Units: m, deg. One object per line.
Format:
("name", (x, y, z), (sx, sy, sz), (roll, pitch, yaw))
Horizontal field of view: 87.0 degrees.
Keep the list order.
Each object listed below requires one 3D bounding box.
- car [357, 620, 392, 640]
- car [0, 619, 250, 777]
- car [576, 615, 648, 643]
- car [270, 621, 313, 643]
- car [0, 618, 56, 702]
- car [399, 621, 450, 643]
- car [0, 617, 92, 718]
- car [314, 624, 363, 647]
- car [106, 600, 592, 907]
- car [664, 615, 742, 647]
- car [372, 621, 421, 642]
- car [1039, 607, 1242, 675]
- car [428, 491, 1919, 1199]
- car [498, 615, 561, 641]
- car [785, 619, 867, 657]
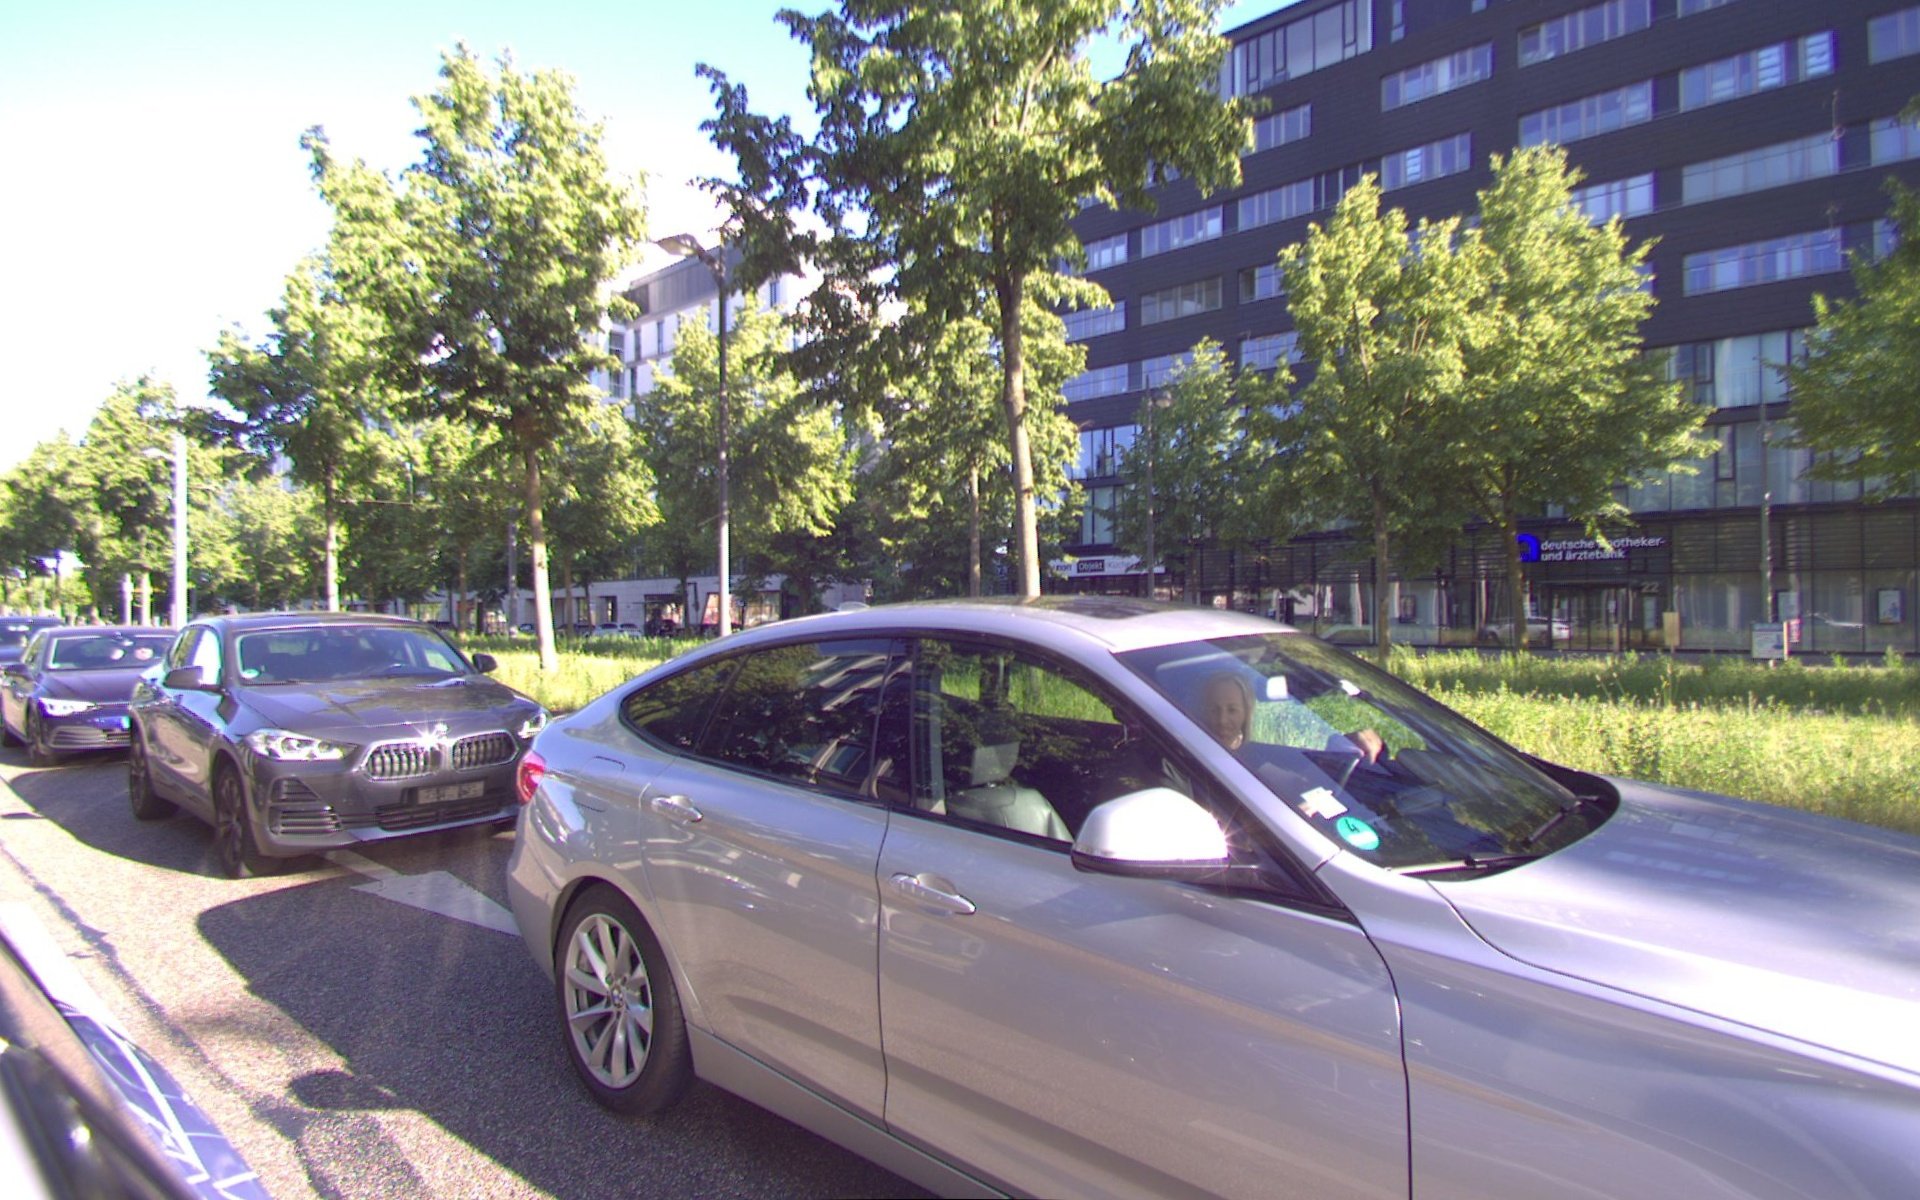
("car", (-51.017, 2.615, 88.159), (3.741, 1.682, 1.581), (-1, -1, 41))
("car", (-9.820, 0.978, 11.660), (4.253, 1.465, 1.789), (-1, -1, 42))
("car", (-21.751, 1.798, 63.238), (4.785, 1.711, 1.988), (-1, -1, 38))
("car", (-56.144, 2.665, 84.943), (4.790, 1.742, 1.834), (-1, -1, 41))
("car", (-21.590, 1.273, 22.179), (4.788, 1.711, 1.986), (-1, -1, 40))
("car", (-42.975, 2.553, 81.205), (4.788, 1.711, 1.986), (-1, -1, 40))
("car", (-16.759, 1.122, 17.798), (4.164, 1.602, 1.788), (-1, -1, 42))
("car", (-40.607, 2.308, 66.063), (3.998, 1.403, 1.644), (-1, -1, 41))
("car", (-4.437, 0.809, 7.089), (4.027, 1.534, 1.789), (-1, -1, 41))
("car", (-14.332, 1.706, 56.337), (4.790, 1.697, 1.834), (-1, -1, 41))
("car", (-47.360, 2.626, 85.007), (4.788, 1.711, 1.986), (-1, -1, 40))
("car", (4.429, 0.988, 25.290), (4.733, 1.549, 1.834), (-1, -1, 41))
("car", (0.496, 0.663, 2.726), (4.739, 1.500, 1.790), (-1, -1, 40))
("car", (-29.723, 1.908, 69.812), (4.785, 1.711, 1.988), (-1, -1, 38))
("car", (-6.566, 1.826, 49.426), (3.998, 1.762, 1.834), (-1, -1, 41))
